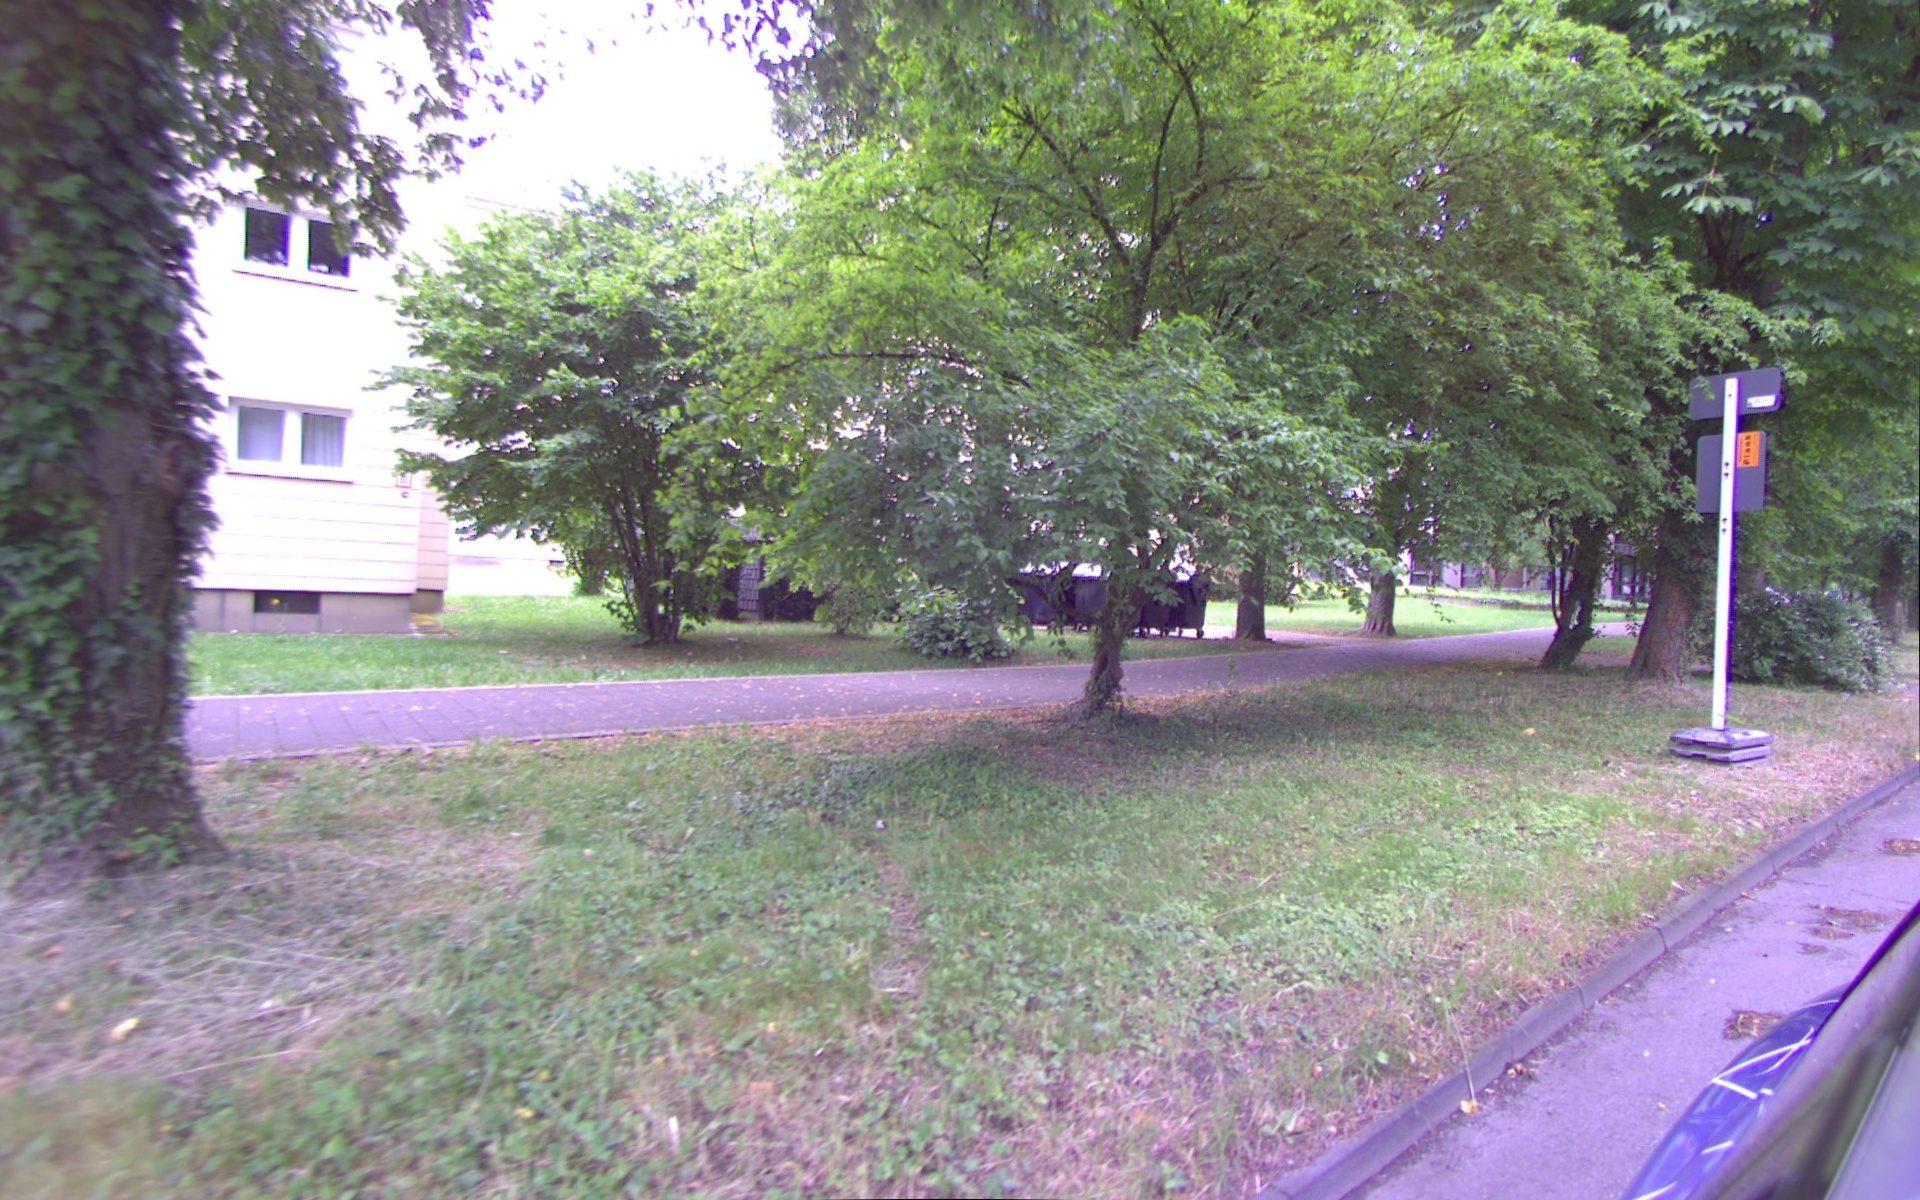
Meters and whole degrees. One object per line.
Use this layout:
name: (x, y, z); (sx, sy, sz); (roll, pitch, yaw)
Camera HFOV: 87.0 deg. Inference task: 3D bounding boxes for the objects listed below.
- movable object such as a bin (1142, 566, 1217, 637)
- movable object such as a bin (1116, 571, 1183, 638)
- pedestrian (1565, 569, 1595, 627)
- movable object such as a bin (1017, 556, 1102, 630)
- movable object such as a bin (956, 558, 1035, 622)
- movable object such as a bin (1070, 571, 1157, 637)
movable object such as a bin: (4.755, 0.017, 21.911); (1.189, 1.431, 1.095); (3, 2, 40)
movable object such as a bin: (3.970, 0.081, 21.175); (1.022, 1.320, 0.946); (3, 2, 40)
pedestrian: (19.078, -0.061, 31.153); (0.560, 1.761, 0.565); (1, 3, -43)
movable object such as a bin: (2.092, -0.158, 21.227); (1.189, 1.474, 1.329); (3, 2, 40)
movable object such as a bin: (0.798, -0.228, 22.669); (1.189, 1.358, 1.329); (3, 2, 40)
movable object such as a bin: (3.101, 0.065, 20.380); (1.189, 1.235, 1.329); (3, 2, 40)
